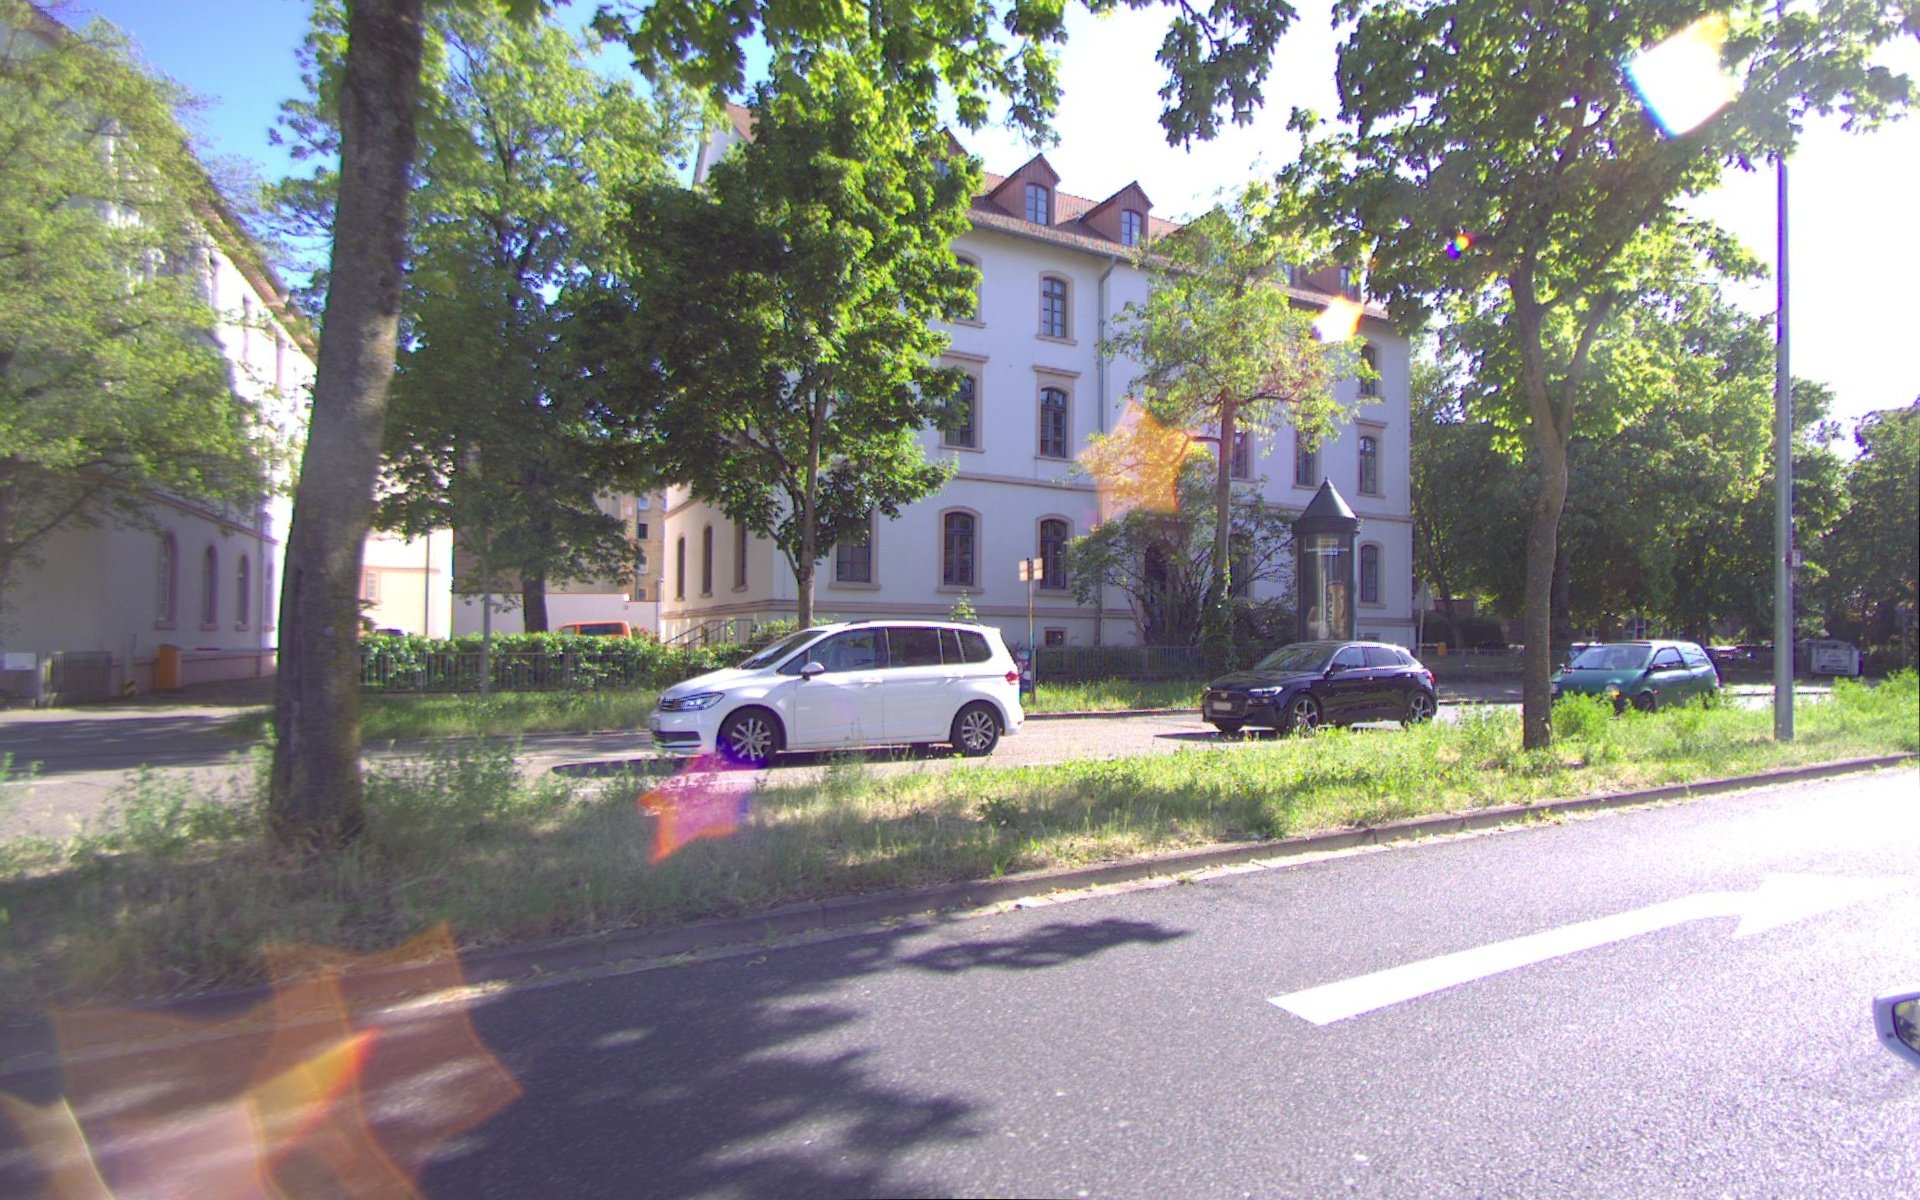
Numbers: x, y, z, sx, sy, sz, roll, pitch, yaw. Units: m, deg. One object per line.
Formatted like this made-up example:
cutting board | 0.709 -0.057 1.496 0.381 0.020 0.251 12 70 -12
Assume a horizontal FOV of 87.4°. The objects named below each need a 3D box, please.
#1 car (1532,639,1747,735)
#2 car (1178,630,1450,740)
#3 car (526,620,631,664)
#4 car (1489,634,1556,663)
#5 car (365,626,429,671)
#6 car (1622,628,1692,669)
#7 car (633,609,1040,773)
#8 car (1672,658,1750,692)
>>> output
car | 12.333 1.511 18.180 4.210 1.539 1.630 2 -2 -31
car | 5.570 1.322 15.757 4.035 1.538 1.789 3 -4 -28
car | -18.827 2.056 49.613 4.727 1.982 1.988 -1 -1 -25
car | 34.992 3.027 62.492 3.953 1.509 1.837 5 -3 -29
car | -25.421 2.156 45.512 1.972 1.817 3.978 5 -3 -23
car | 46.725 3.241 67.283 4.927 2.353 1.837 6 -3 -29
car | -1.422 1.023 12.028 4.481 1.647 1.893 2 -3 -29
car | 39.779 3.956 53.188 3.953 1.509 1.837 5 -3 -29
